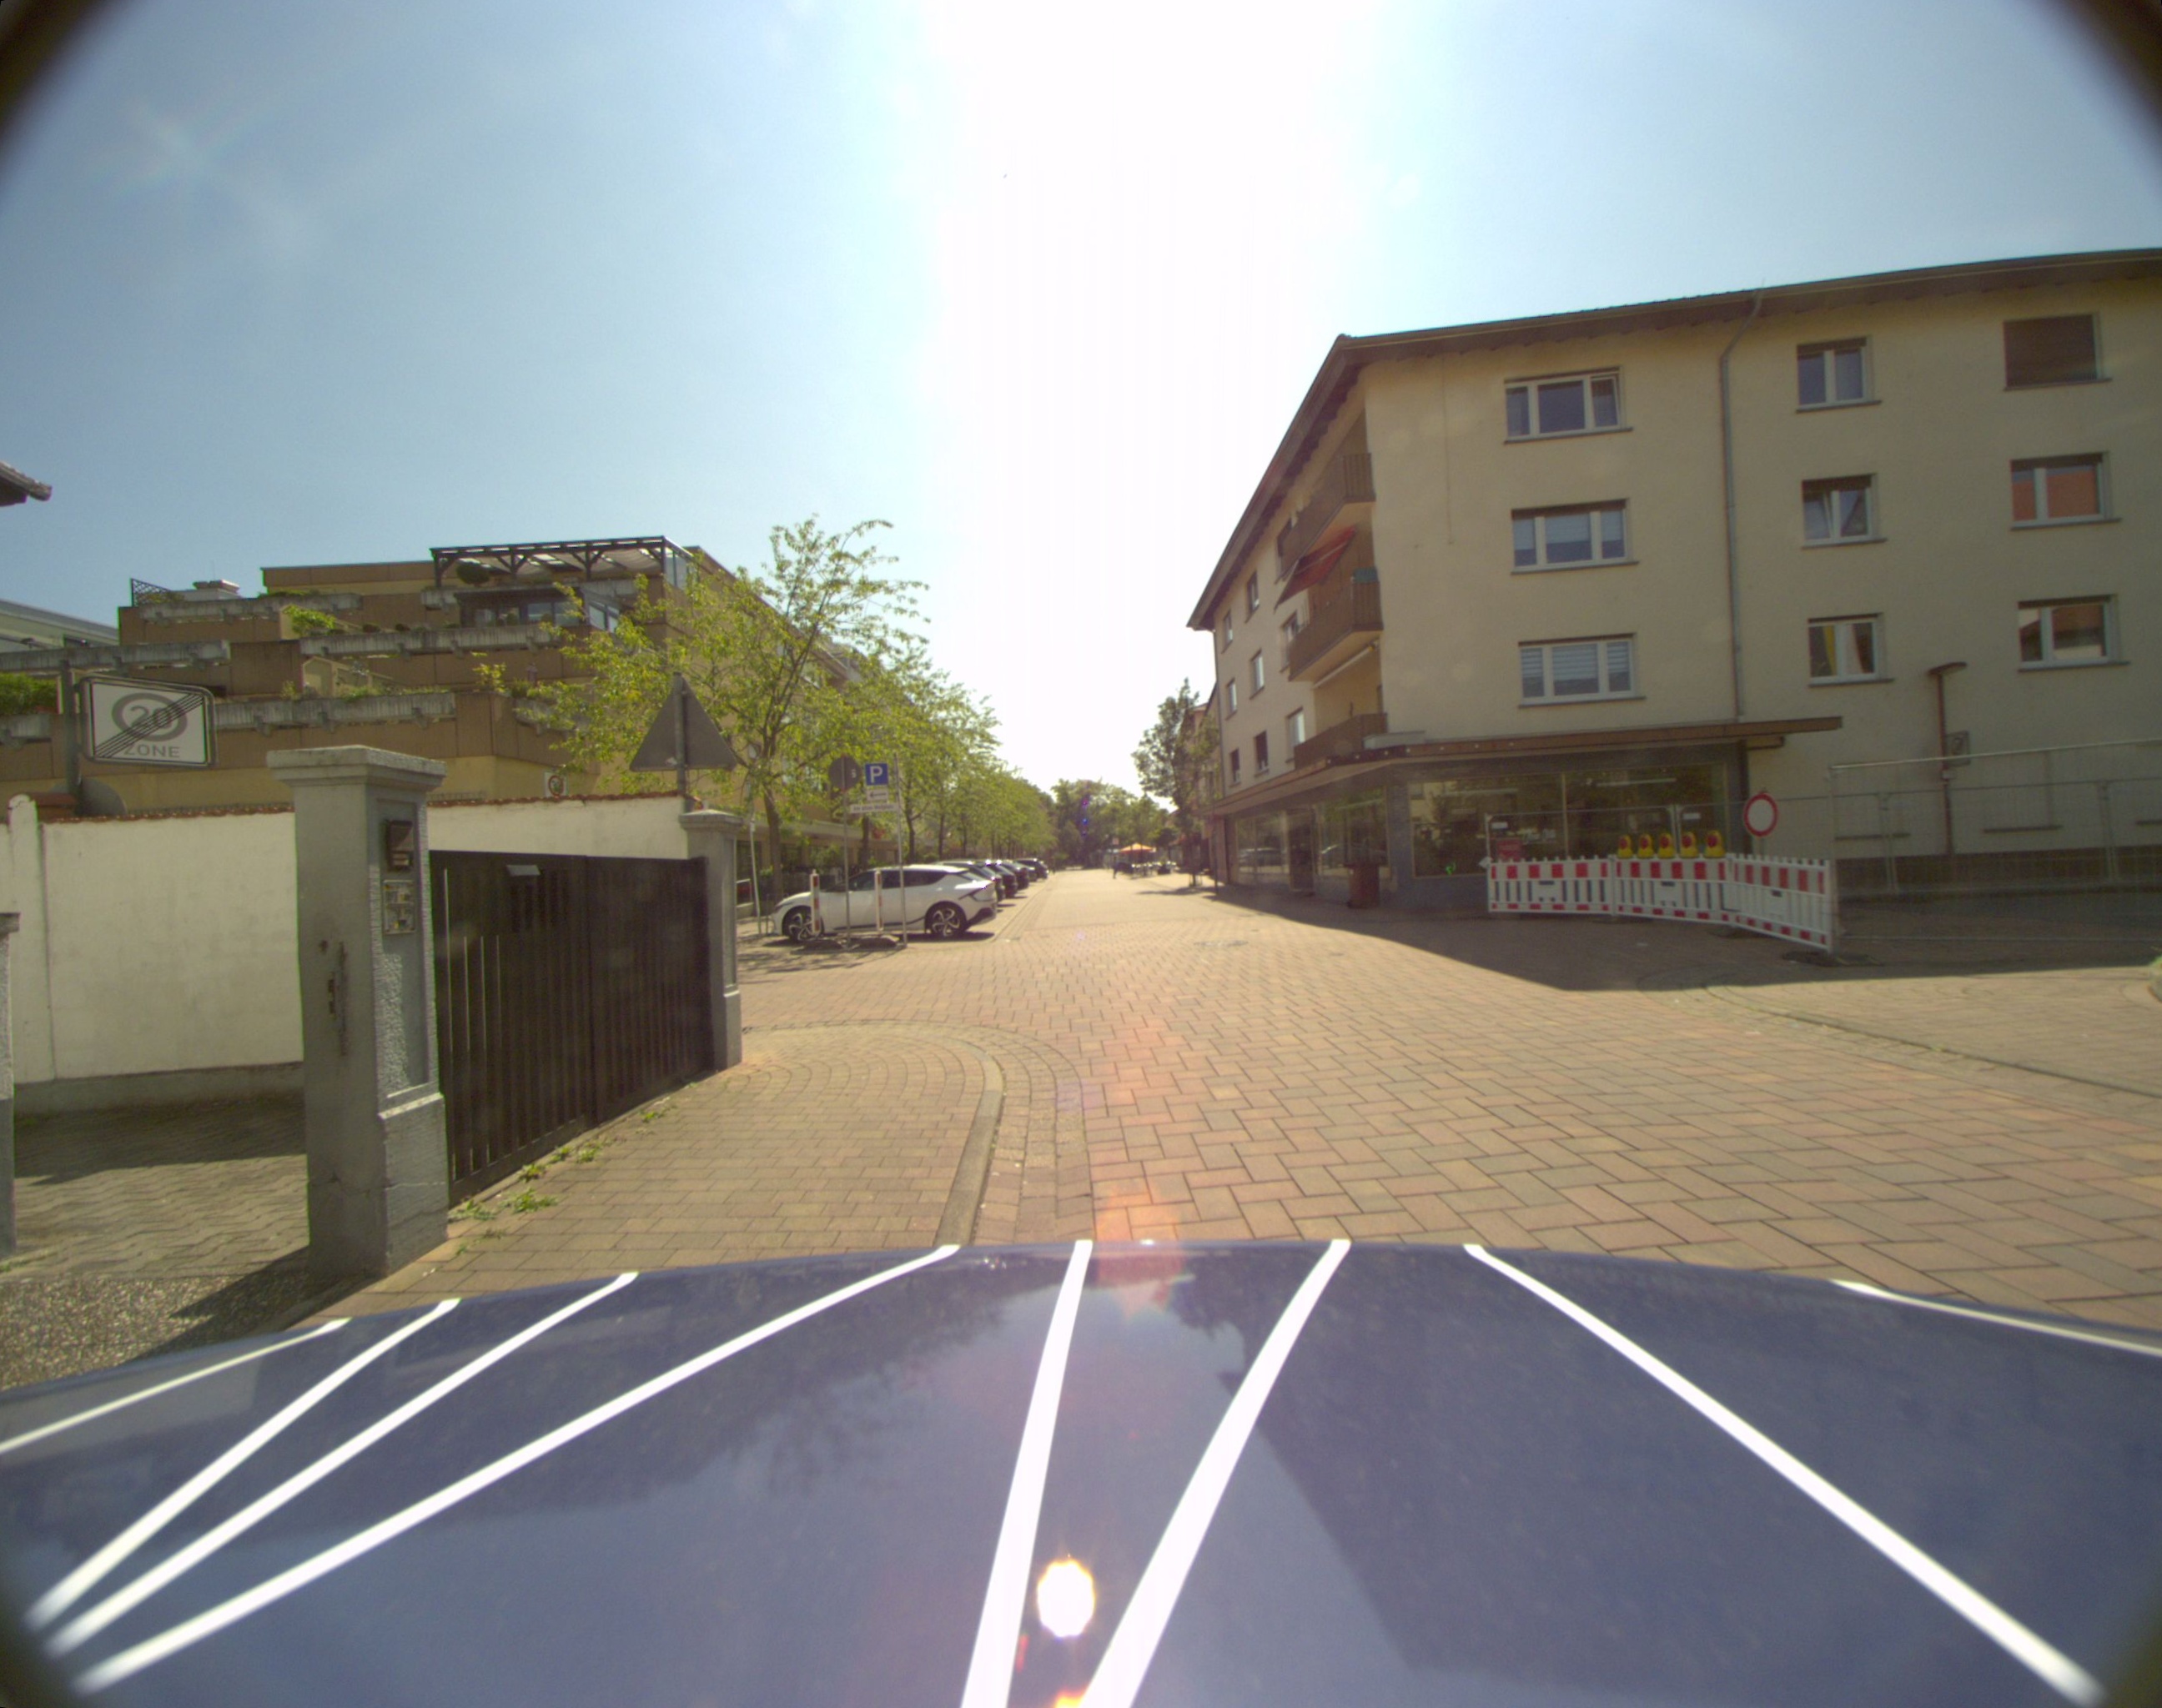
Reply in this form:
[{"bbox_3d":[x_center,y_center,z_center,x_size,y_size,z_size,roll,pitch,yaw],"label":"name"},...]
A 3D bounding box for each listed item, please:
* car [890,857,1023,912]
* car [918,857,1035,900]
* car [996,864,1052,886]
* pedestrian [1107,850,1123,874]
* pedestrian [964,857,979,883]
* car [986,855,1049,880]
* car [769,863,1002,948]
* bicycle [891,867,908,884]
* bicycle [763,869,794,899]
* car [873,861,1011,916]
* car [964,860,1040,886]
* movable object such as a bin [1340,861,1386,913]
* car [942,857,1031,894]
[{"bbox_3d":[-4.224,1.012,26.416,4.291,1.671,2.000,-2,0,-3],"label":"car"},{"bbox_3d":[-4.270,1.005,31.577,4.519,1.579,1.850,-2,0,1],"label":"car"},{"bbox_3d":[-4.814,1.739,64.824,4.586,1.534,1.807,-4,0,0],"label":"car"},{"bbox_3d":[2.583,0.580,56.946,0.758,1.770,0.872,-2,1,36],"label":"pedestrian"},{"bbox_3d":[-7.348,1.063,51.033,0.614,1.721,0.649,-4,1,34],"label":"pedestrian"},{"bbox_3d":[-4.444,0.938,53.381,4.255,1.608,1.756,-2,0,-1],"label":"car"},{"bbox_3d":[-4.021,1.053,16.177,4.451,1.566,1.789,-2,0,0],"label":"car"},{"bbox_3d":[-12.374,1.446,51.922,0.643,1.075,1.866,-4,1,-1],"label":"bicycle"},{"bbox_3d":[-12.289,1.191,30.915,0.413,1.117,1.774,-4,1,1],"label":"bicycle"},{"bbox_3d":[-4.242,1.031,23.639,3.954,1.525,1.823,-1,0,-2],"label":"car"},{"bbox_3d":[-4.918,1.172,47.349,4.390,1.455,1.888,-2,0,-19],"label":"car"},{"bbox_3d":[6.214,0.719,16.763,0.657,1.064,0.663,-4,1,-7],"label":"movable object such as a bin"},{"bbox_3d":[-4.495,1.007,36.386,4.037,1.602,1.681,-2,1,-2],"label":"car"}]
